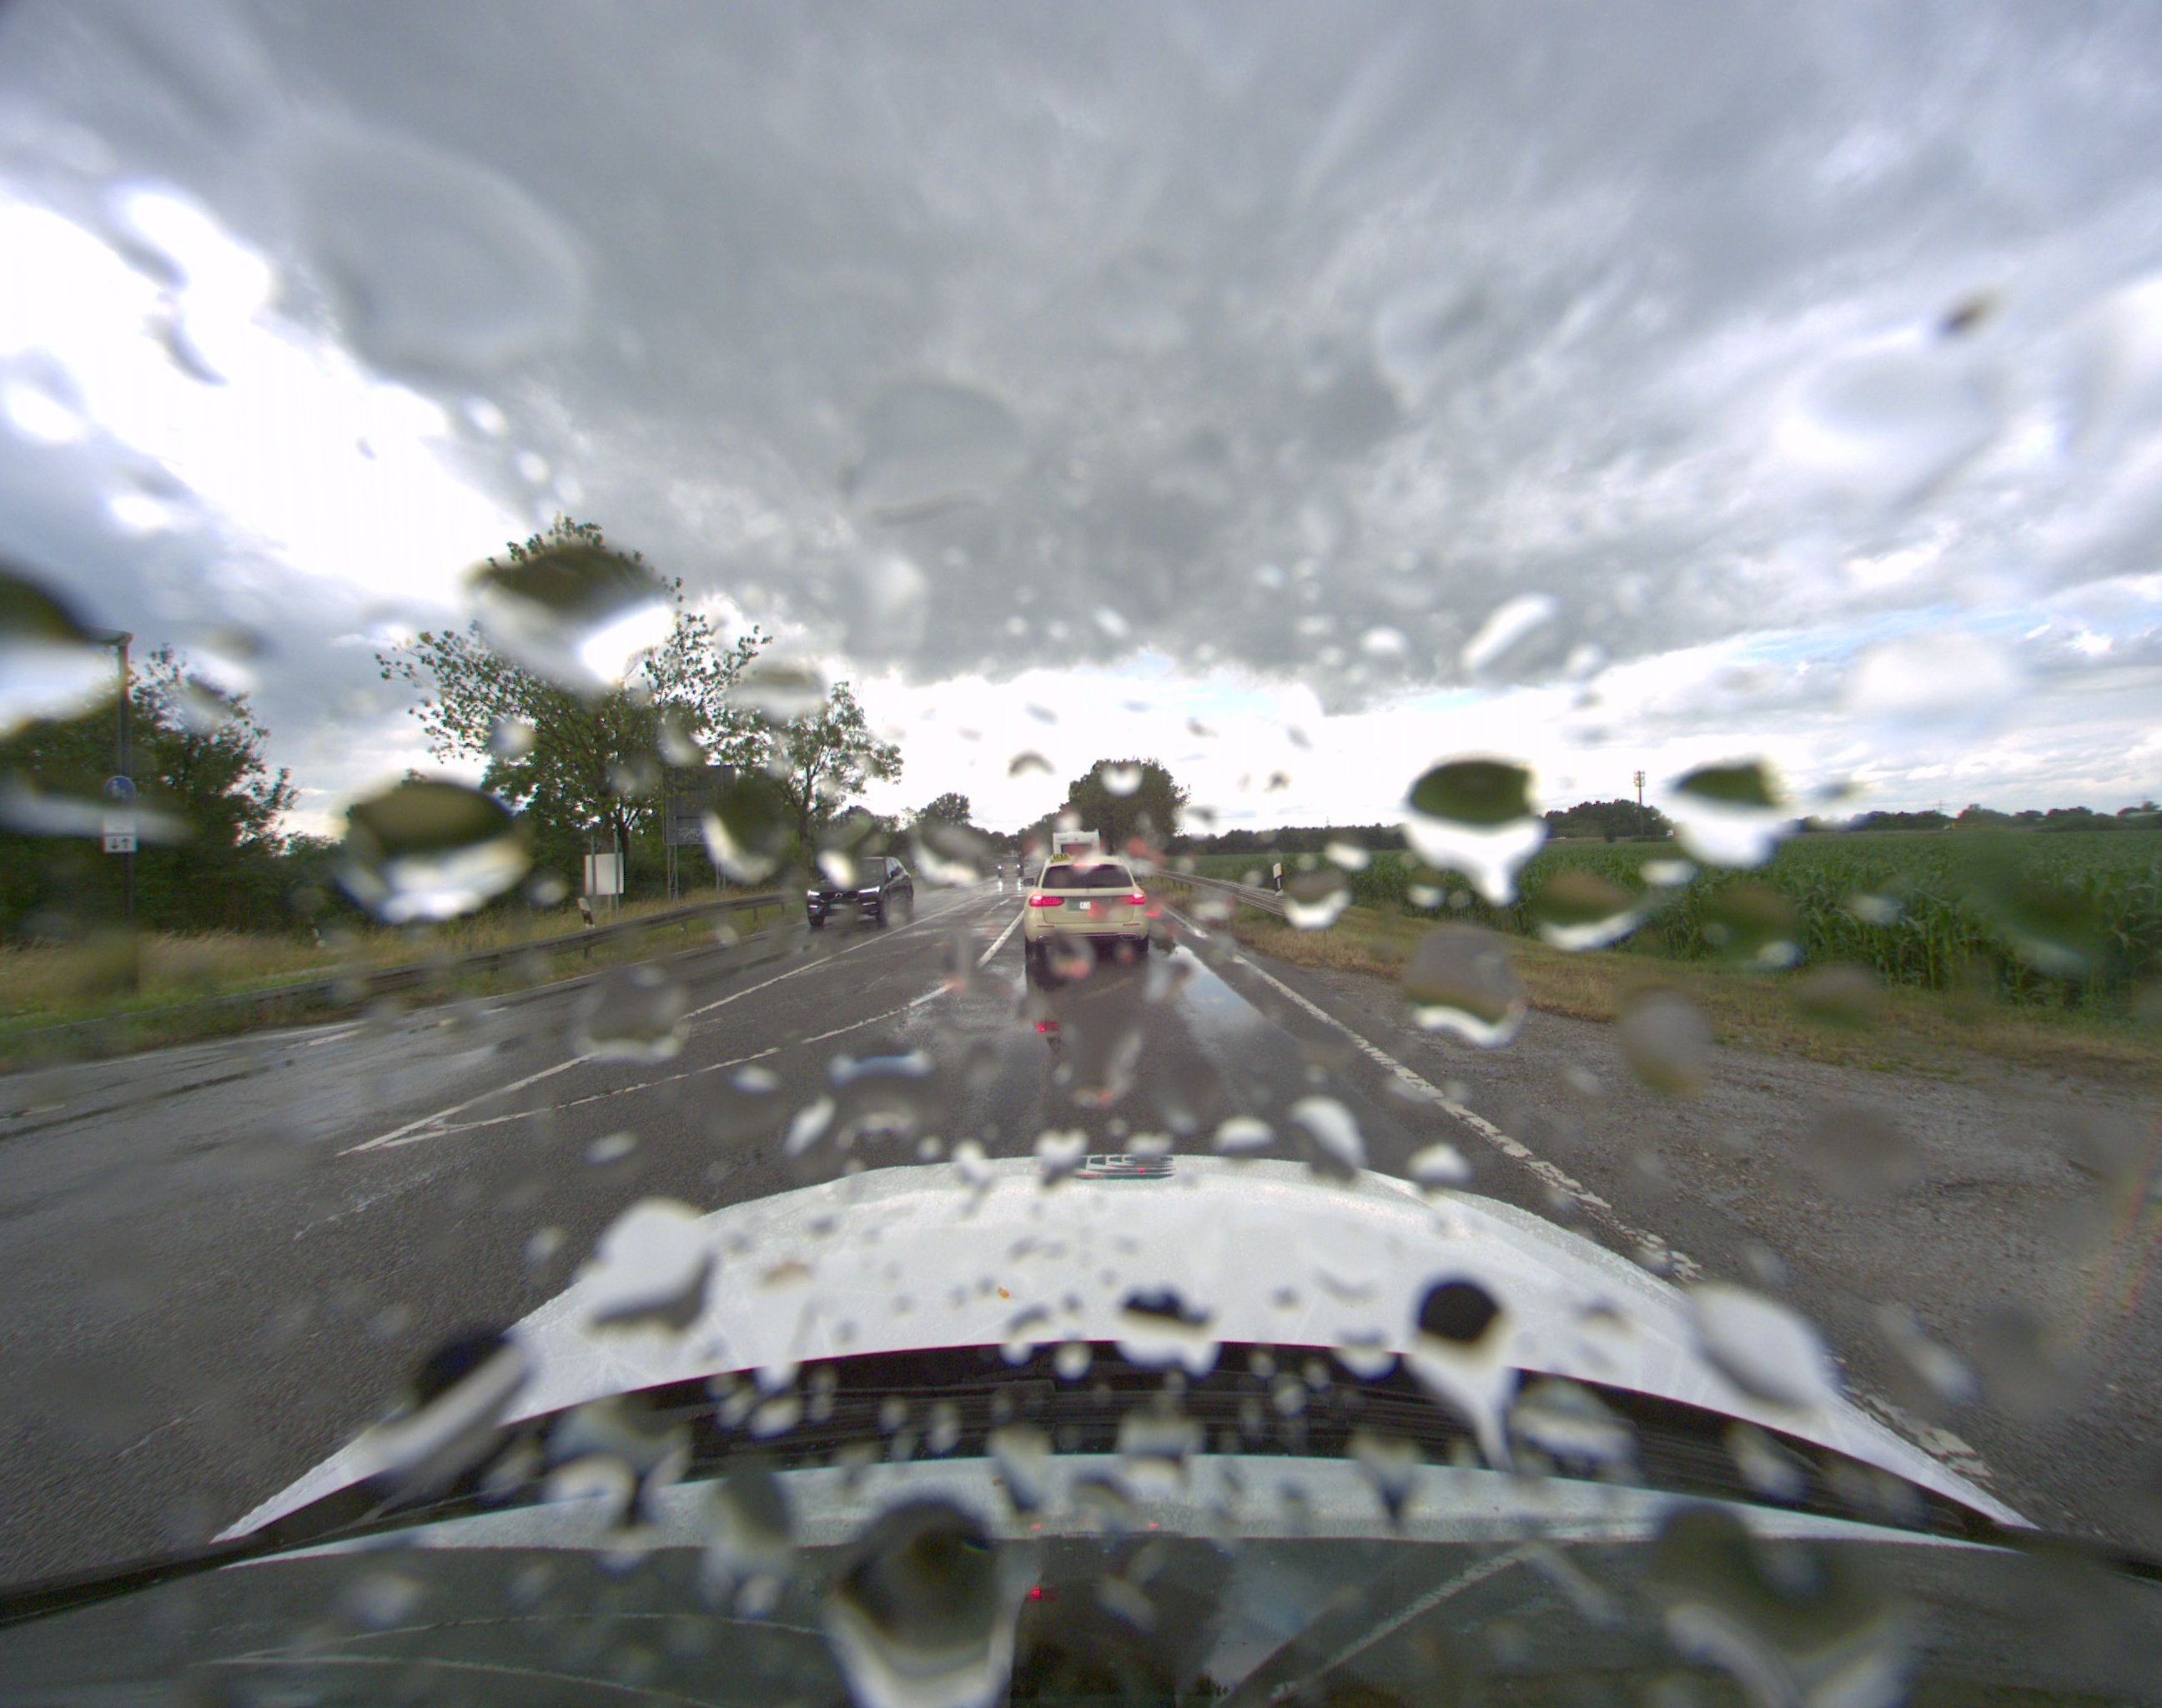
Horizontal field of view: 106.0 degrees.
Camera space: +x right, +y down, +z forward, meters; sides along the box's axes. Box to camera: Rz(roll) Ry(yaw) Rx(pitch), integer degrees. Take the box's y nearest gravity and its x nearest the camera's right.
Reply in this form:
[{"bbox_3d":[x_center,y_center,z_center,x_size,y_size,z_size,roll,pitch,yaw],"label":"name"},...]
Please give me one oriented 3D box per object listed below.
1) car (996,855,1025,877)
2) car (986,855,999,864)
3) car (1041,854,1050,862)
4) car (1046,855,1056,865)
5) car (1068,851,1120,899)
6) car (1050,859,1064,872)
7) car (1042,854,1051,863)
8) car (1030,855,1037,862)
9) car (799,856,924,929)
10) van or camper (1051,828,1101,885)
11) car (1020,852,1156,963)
[{"bbox_3d":[-5.450,0.916,63.593,1.763,1.523,4.141,-4,0,0],"label":"car"},{"bbox_3d":[-17.036,0.999,157.010,1.986,1.651,4.001,-2,0,1],"label":"car"},{"bbox_3d":[-8.843,1.040,202.780,1.989,2.013,3.996,-2,0,-3],"label":"car"},{"bbox_3d":[-6.259,1.167,169.612,1.990,2.013,3.993,-2,0,-5],"label":"car"},{"bbox_3d":[0.421,0.683,28.542,1.622,1.529,3.931,-2,0,0],"label":"car"},{"bbox_3d":[-4.210,1.988,140.782,1.993,2.013,3.988,-2,0,-8],"label":"car"},{"bbox_3d":[-8.051,1.113,189.586,1.987,2.051,4.000,-2,0,0],"label":"car"},{"bbox_3d":[-13.653,1.363,234.311,1.991,2.013,3.992,-2,0,-6],"label":"car"},{"bbox_3d":[-5.570,0.910,21.305,1.937,1.580,4.443,-3,0,0],"label":"car"},{"bbox_3d":[-0.228,0.095,42.327,2.343,2.680,5.767,-2,0,0],"label":"van or camper"},{"bbox_3d":[0.130,0.733,13.148,1.818,1.485,4.145,-1,0,1],"label":"car"}]
